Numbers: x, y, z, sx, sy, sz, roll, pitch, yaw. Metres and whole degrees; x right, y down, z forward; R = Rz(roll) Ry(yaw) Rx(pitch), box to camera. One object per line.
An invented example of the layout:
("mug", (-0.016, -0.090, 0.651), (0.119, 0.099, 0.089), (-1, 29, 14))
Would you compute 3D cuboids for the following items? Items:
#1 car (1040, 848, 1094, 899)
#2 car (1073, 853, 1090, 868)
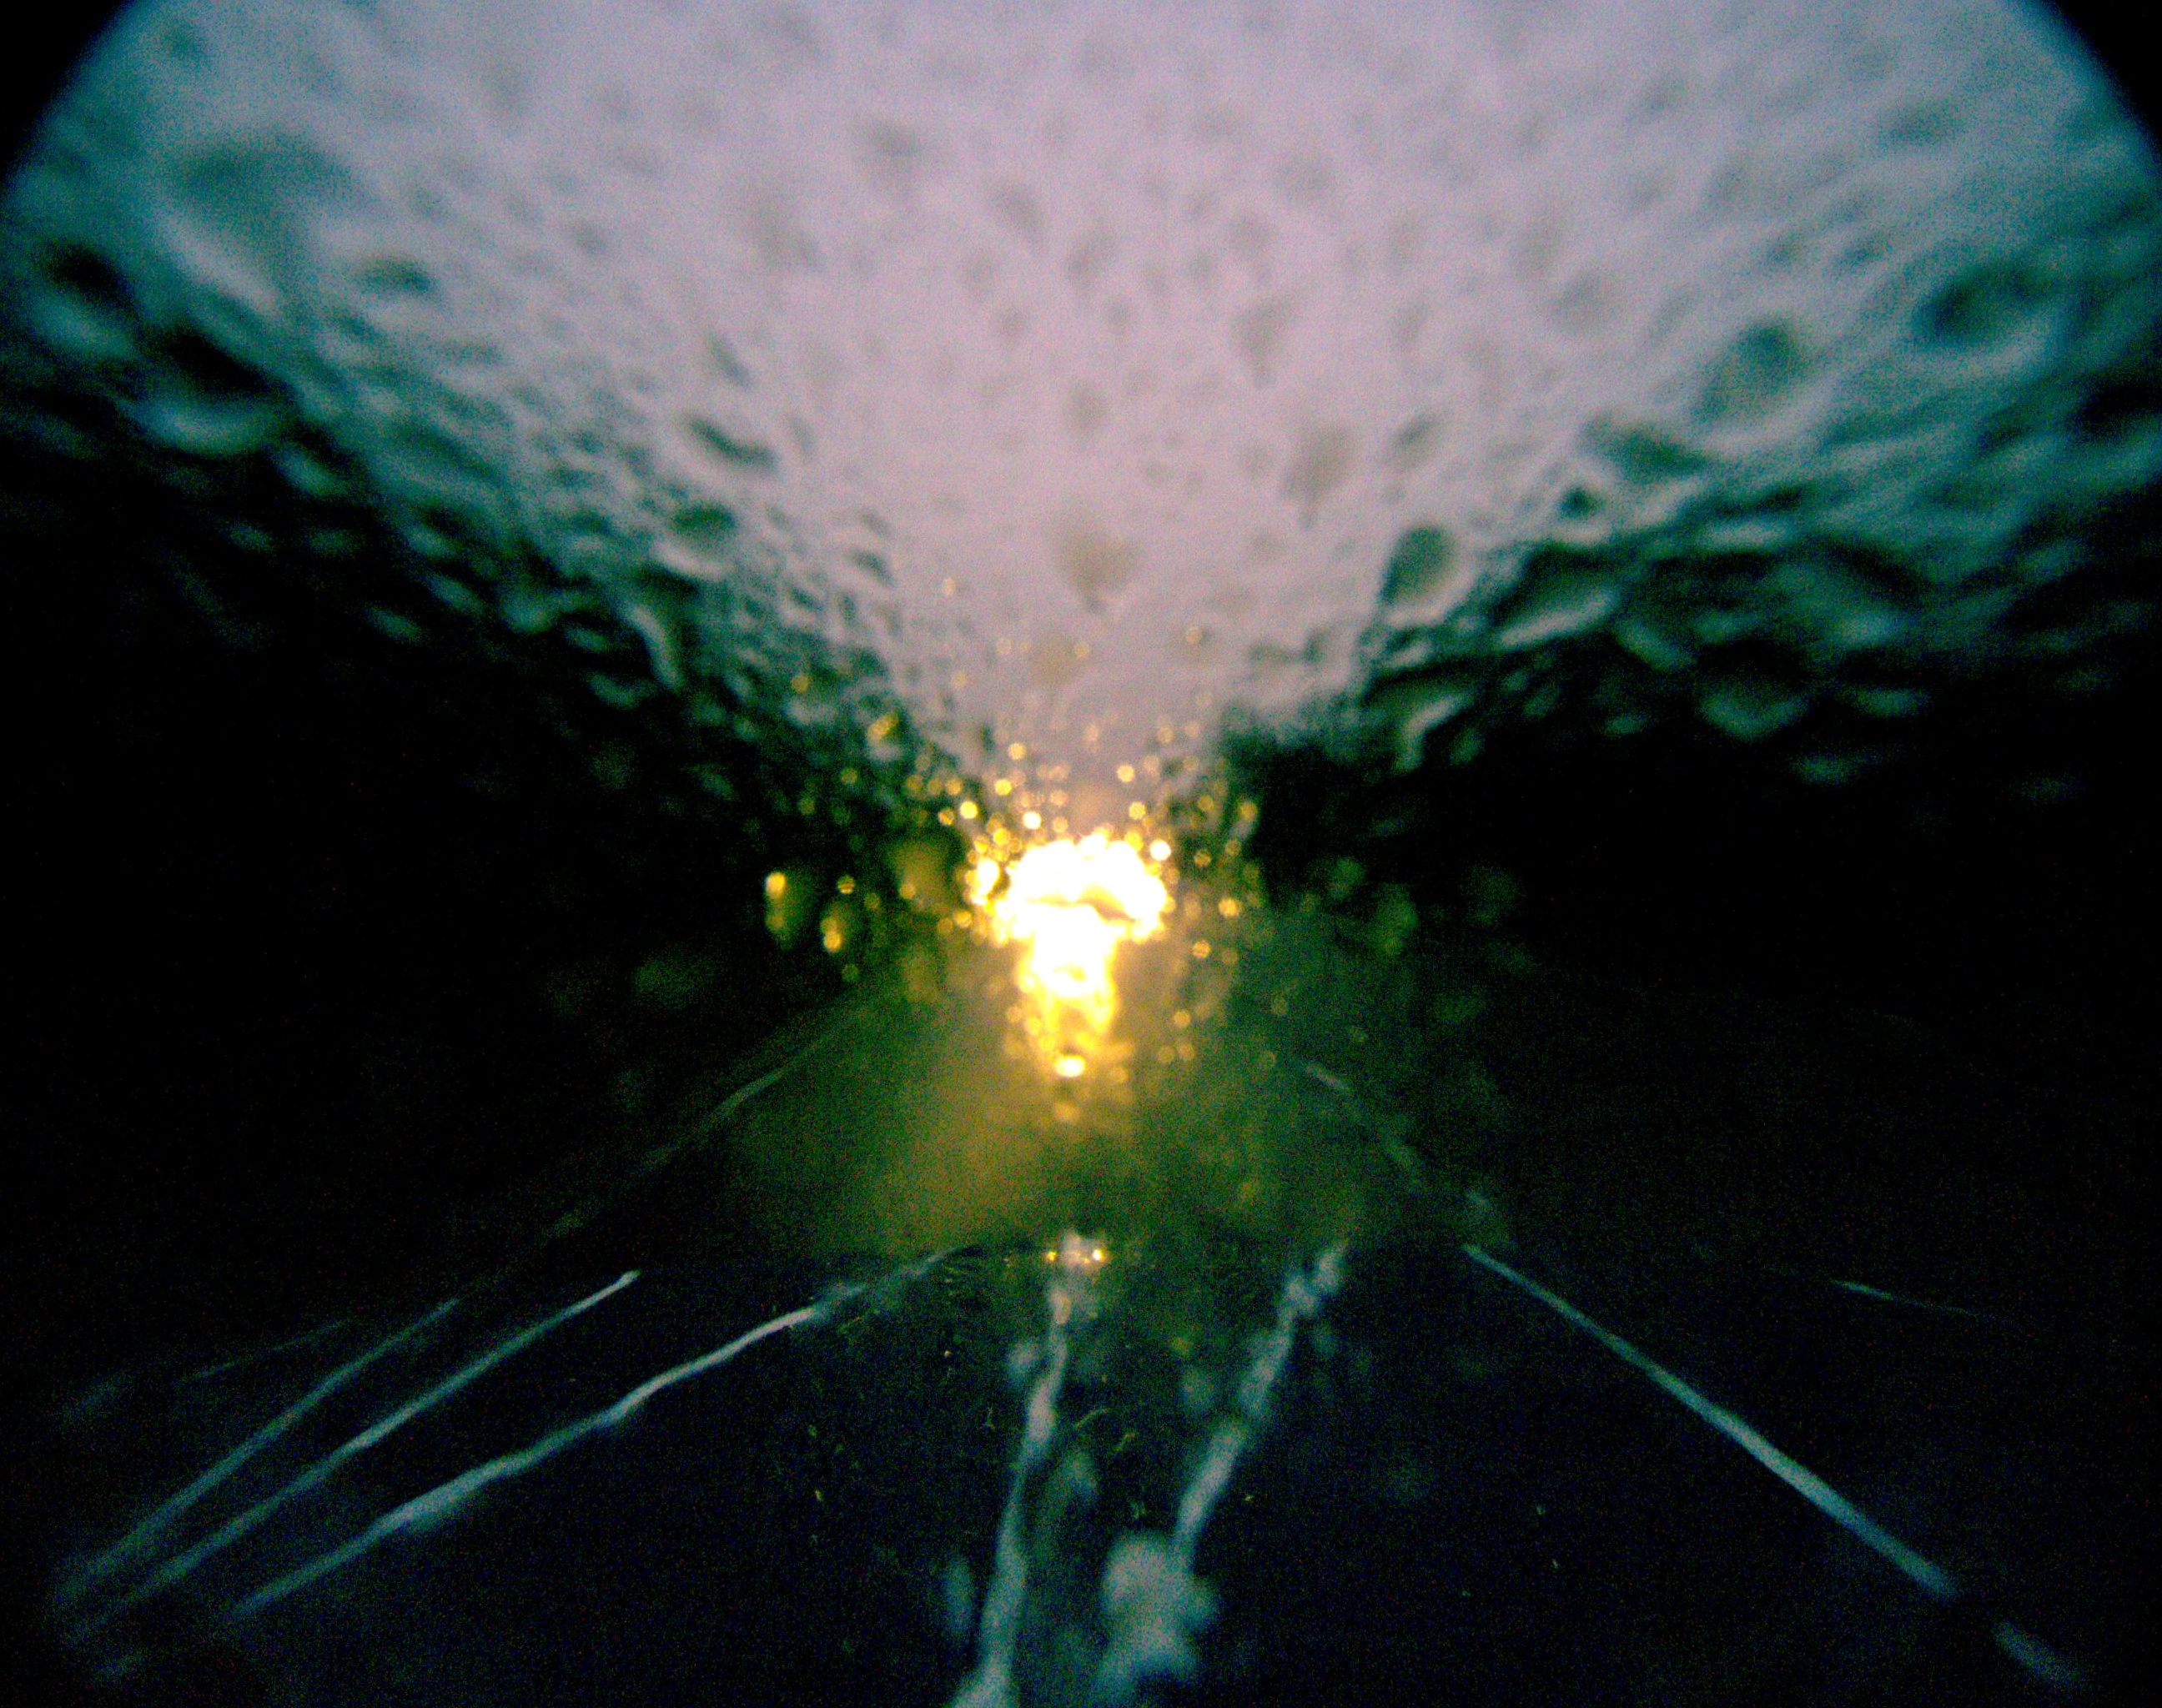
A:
("car", (-0.452, 0.664, 28.296), (1.573, 1.701, 4.001), (-1, 0, 4))
("car", (0.066, 0.764, 92.081), (1.998, 1.752, 4.371), (-1, 0, 0))
